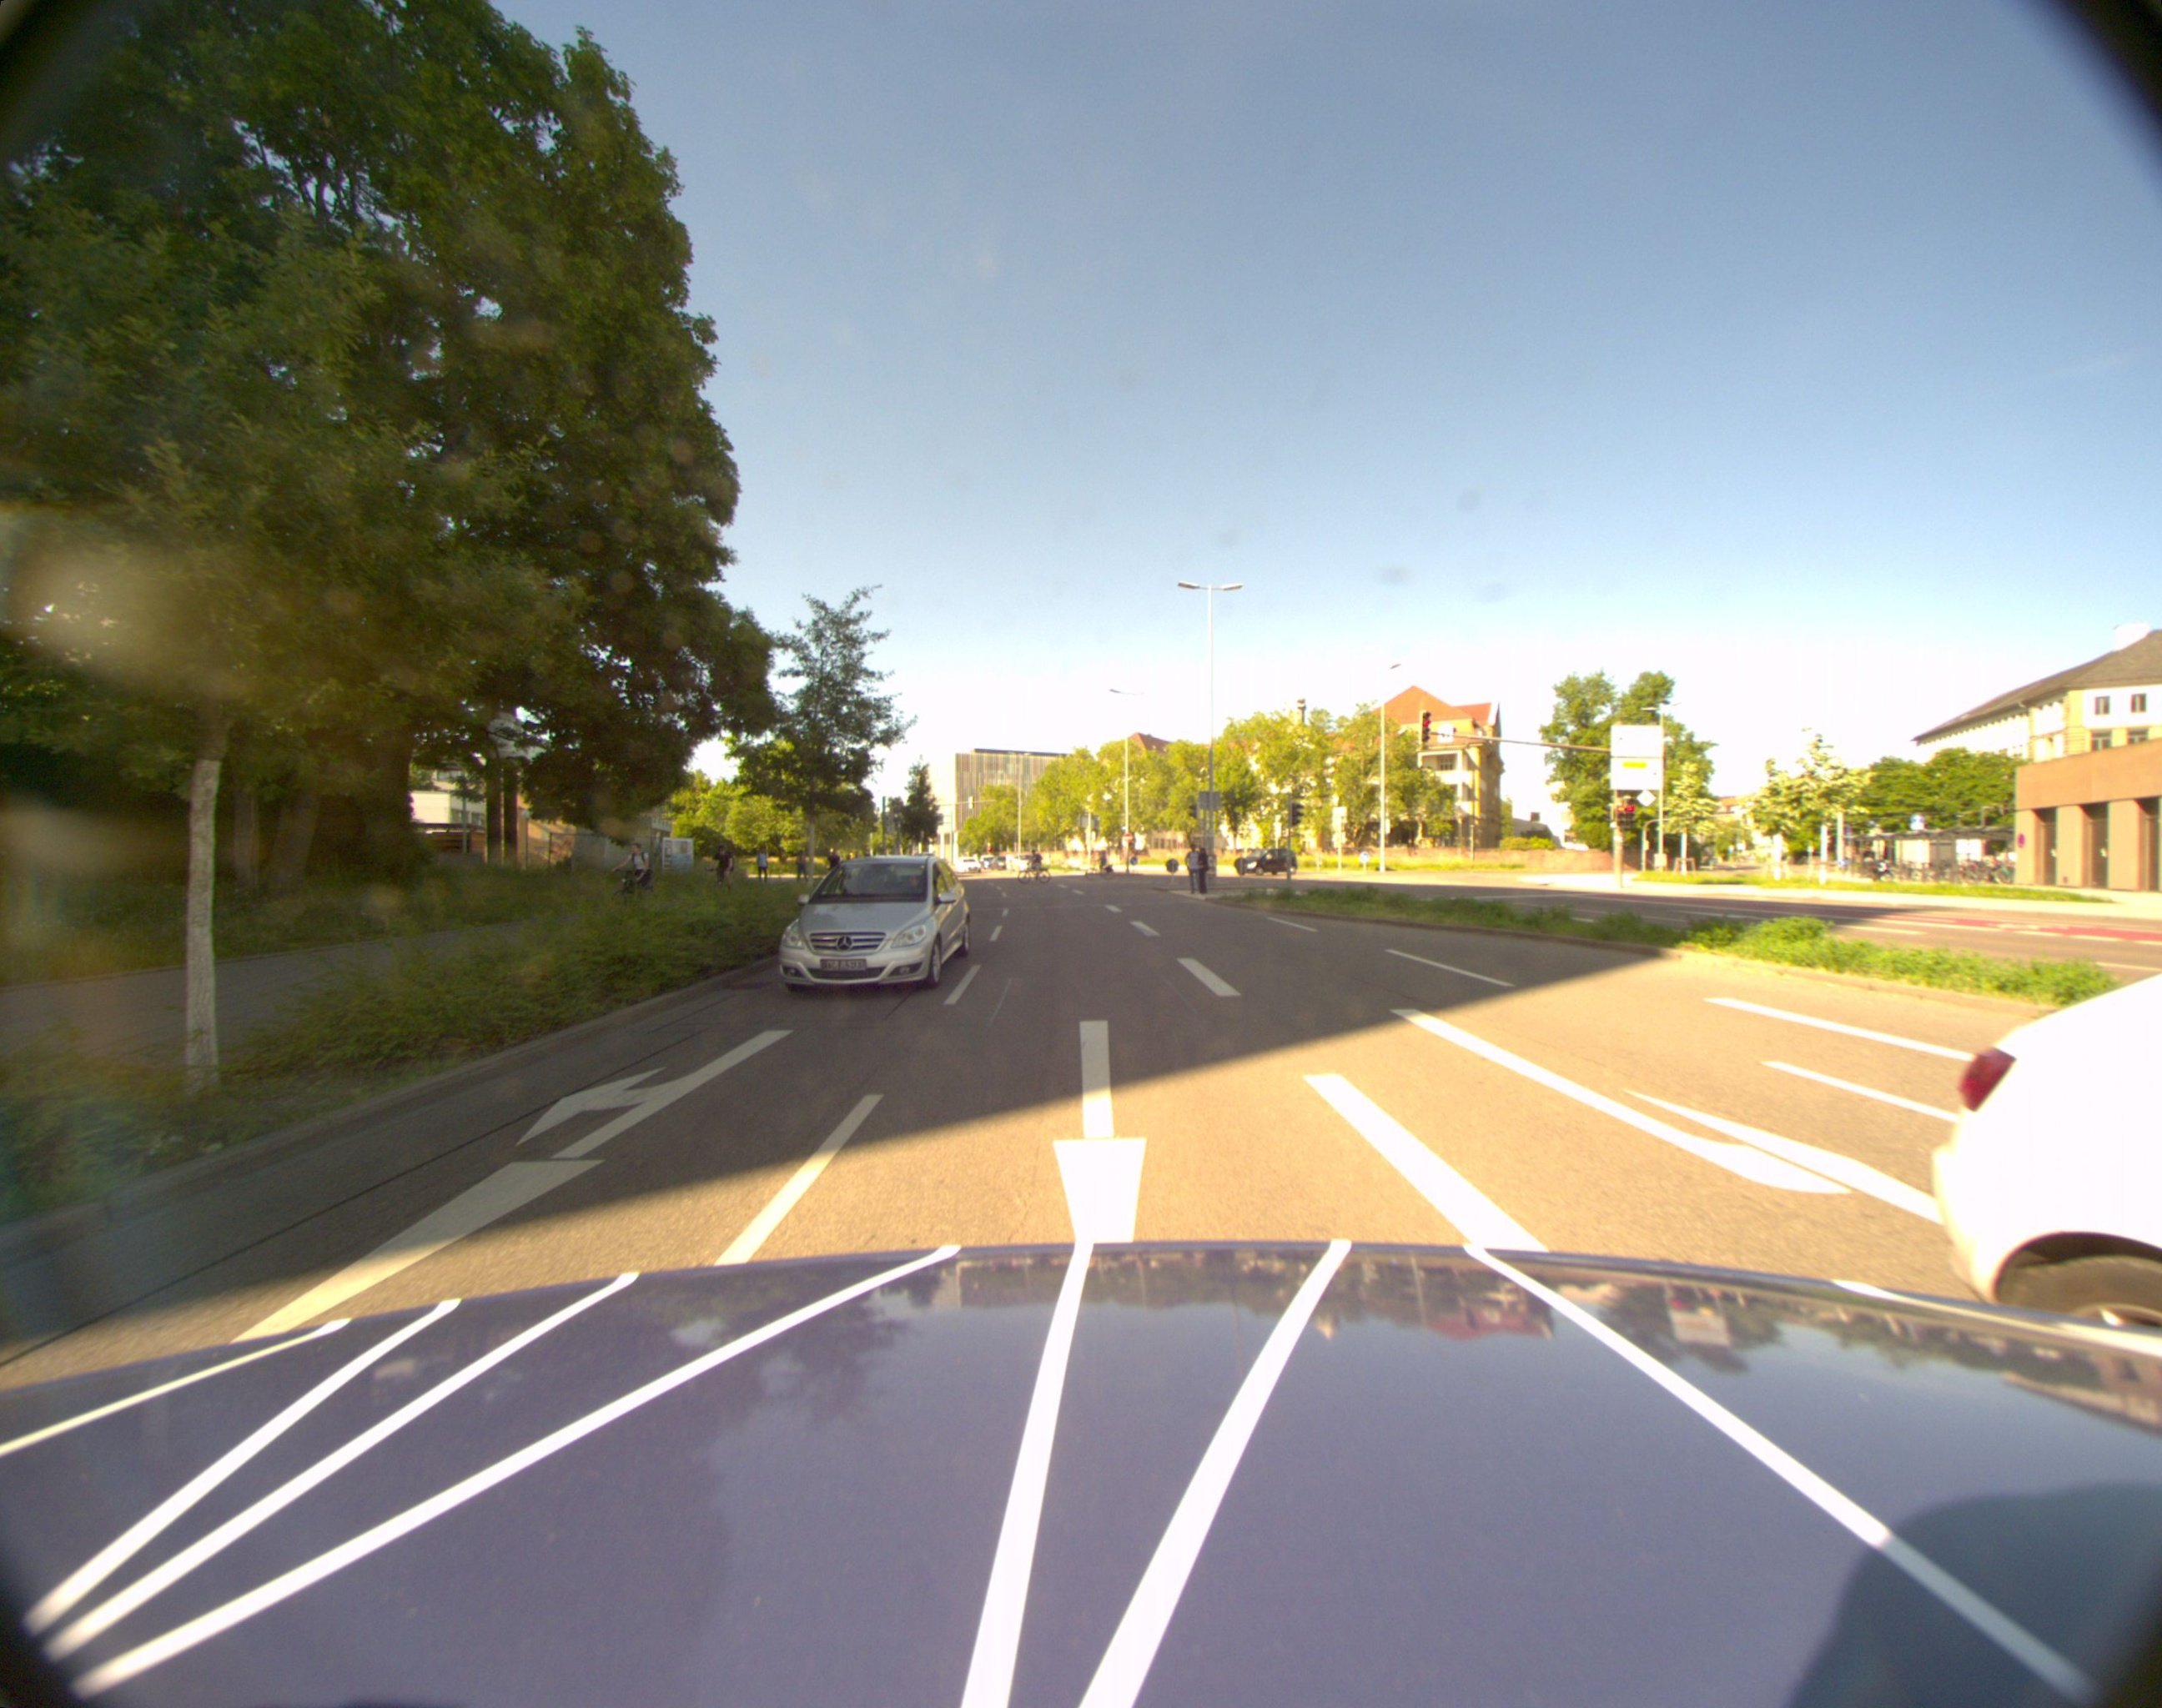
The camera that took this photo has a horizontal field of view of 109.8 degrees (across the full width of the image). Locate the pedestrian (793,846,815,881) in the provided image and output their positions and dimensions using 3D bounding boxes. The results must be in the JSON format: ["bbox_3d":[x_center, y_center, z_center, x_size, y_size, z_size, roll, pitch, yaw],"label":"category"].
[{"bbox_3d":[-13.358,0.477,36.642,0.734,1.633,0.679,-2,-2,40],"label":"pedestrian"}]

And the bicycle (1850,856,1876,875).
[{"bbox_3d":[46.281,0.680,44.970,0.566,1.032,1.791,1,2,30],"label":"bicycle"}]

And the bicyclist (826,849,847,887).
[{"bbox_3d":[-9.547,0.538,29.649,0.643,1.436,0.952,-1,1,-12],"label":"bicyclist"}]

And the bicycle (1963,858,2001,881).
[{"bbox_3d":[44.031,0.750,37.143,0.566,1.032,1.791,1,2,30],"label":"bicycle"}]

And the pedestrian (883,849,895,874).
[{"bbox_3d":[-14.530,0.566,57.599,0.731,1.805,0.736,-1,-1,-5],"label":"pedestrian"}]

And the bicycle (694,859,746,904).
[{"bbox_3d":[-9.660,0.714,20.404,0.643,1.158,1.869,0,0,-5],"label":"bicycle"}]

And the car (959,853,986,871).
[{"bbox_3d":[-9.781,0.693,68.276,2.001,1.460,3.995,-1,0,-14],"label":"car"}]

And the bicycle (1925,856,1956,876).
[{"bbox_3d":[47.386,0.666,41.910,0.566,1.032,1.791,1,2,30],"label":"bicycle"}]

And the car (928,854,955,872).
[{"bbox_3d":[-11.972,0.751,65.017,1.706,1.433,3.994,-2,0,-19],"label":"car"}]

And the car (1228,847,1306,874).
[{"bbox_3d":[11.027,0.398,44.992,4.305,1.464,1.996,0,-2,-30],"label":"car"}]

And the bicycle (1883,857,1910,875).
[{"bbox_3d":[47.503,0.690,44.273,0.566,1.032,1.791,1,2,30],"label":"bicycle"}]

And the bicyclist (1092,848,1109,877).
[{"bbox_3d":[1.150,0.494,44.094,0.777,1.653,0.642,-1,0,-23],"label":"bicyclist"}]

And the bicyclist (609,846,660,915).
[{"bbox_3d":[-9.569,0.559,16.298,0.643,1.436,0.776,2,1,-5],"label":"bicyclist"}]

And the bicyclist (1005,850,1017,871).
[{"bbox_3d":[-5.824,0.536,63.268,0.747,1.675,0.976,0,2,-20],"label":"bicyclist"}]

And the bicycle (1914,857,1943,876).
[{"bbox_3d":[48.653,0.685,43.629,0.566,1.032,1.791,1,2,30],"label":"bicycle"}]

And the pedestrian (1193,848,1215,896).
[{"bbox_3d":[4.137,0.595,25.572,0.681,1.603,0.720,0,1,12],"label":"pedestrian"}]

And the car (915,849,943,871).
[{"bbox_3d":[-14.304,0.537,71.322,1.941,1.941,4.749,-2,0,-19],"label":"car"}]

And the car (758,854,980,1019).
[{"bbox_3d":[-2.591,0.893,10.506,1.771,1.585,4.636,-1,2,-1],"label":"car"}]

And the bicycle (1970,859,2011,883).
[{"bbox_3d":[41.294,0.749,34.512,0.566,1.032,1.791,1,2,30],"label":"bicycle"}]

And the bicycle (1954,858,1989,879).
[{"bbox_3d":[45.487,0.736,38.823,0.566,1.032,1.791,1,2,30],"label":"bicycle"}]

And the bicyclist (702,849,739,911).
[{"bbox_3d":[-9.654,0.692,20.368,0.643,1.635,0.776,0,0,-5],"label":"bicyclist"}]

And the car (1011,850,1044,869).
[{"bbox_3d":[-4.822,0.506,67.948,1.791,1.615,4.309,-2,0,-19],"label":"car"}]

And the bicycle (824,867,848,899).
[{"bbox_3d":[-9.554,1.107,29.706,0.643,1.158,1.868,-2,0,-11],"label":"bicycle"}]

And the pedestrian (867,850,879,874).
[{"bbox_3d":[-15.770,0.606,57.617,0.731,1.771,0.736,-1,-1,-5],"label":"pedestrian"}]

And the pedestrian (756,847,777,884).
[{"bbox_3d":[-14.349,0.523,34.664,0.679,1.633,0.734,0,-2,-44],"label":"pedestrian"}]

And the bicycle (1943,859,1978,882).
[{"bbox_3d":[43.372,0.800,37.488,0.566,1.032,1.791,1,2,30],"label":"bicycle"}]

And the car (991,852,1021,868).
[{"bbox_3d":[-7.585,0.593,76.685,1.985,1.545,4.716,-2,0,-19],"label":"car"}]

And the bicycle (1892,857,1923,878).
[{"bbox_3d":[43.190,0.703,39.734,0.566,1.032,1.791,1,2,30],"label":"bicycle"}]

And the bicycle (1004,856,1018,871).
[{"bbox_3d":[-5.856,0.787,63.366,0.749,1.158,1.866,0,1,-20],"label":"bicycle"}]

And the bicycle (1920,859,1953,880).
[{"bbox_3d":[44.325,0.774,39.374,0.566,1.032,1.791,1,2,30],"label":"bicycle"}]

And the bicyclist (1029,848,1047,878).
[{"bbox_3d":[-2.381,0.491,41.879,0.777,1.653,0.784,-1,0,-23],"label":"bicyclist"}]

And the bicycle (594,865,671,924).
[{"bbox_3d":[-9.576,0.834,16.299,0.643,1.158,1.869,2,0,-4],"label":"bicycle"}]

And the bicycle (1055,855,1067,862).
[{"bbox_3d":[-3.246,0.669,123.428,0.797,1.069,2.080,0,-2,-37],"label":"bicycle"}]

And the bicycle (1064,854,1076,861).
[{"bbox_3d":[-1.780,0.580,121.607,0.797,1.069,2.080,0,-2,-37],"label":"bicycle"}]

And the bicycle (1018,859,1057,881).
[{"bbox_3d":[-2.397,0.881,41.874,1.970,1.158,0.777,0,-1,-23],"label":"bicycle"}]

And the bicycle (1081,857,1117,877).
[{"bbox_3d":[1.047,0.742,44.058,1.970,1.158,0.642,0,-1,-23],"label":"bicycle"}]

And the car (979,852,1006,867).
[{"bbox_3d":[-9.842,0.619,83.855,1.985,1.545,4.716,-2,0,-19],"label":"car"}]

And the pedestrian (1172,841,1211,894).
[{"bbox_3d":[3.903,0.455,26.860,1.097,1.822,0.754,-2,1,-31],"label":"pedestrian"}]

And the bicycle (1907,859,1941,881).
[{"bbox_3d":[42.275,0.795,38.118,0.566,1.032,1.791,1,2,30],"label":"bicycle"}]
